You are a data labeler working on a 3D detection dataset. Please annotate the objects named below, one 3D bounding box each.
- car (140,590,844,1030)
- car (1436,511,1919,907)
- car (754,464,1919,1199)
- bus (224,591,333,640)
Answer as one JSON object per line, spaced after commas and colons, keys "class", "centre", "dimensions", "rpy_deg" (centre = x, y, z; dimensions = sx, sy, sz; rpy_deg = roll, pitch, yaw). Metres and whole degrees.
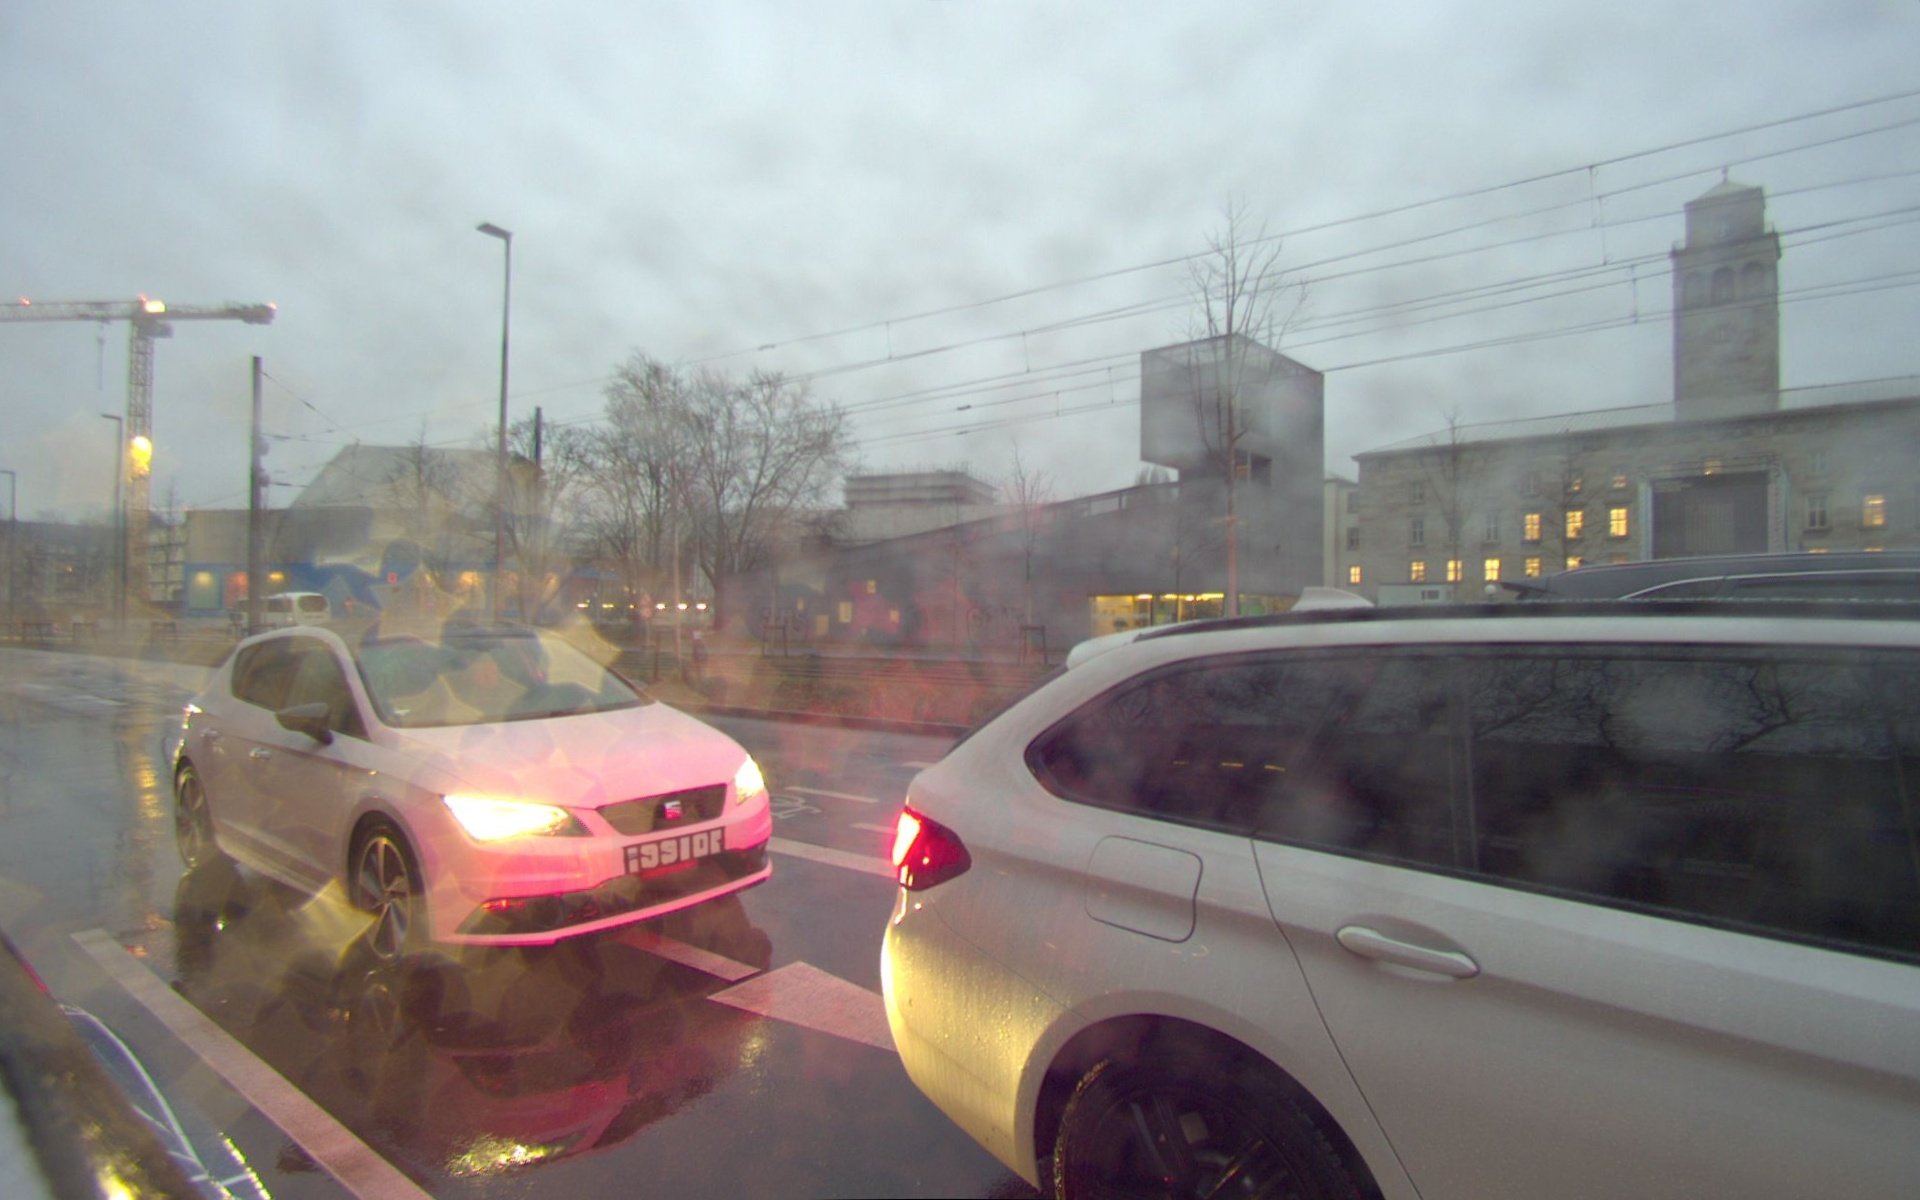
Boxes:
{"class": "car", "centre": [-2.728, 0.746, 5.469], "dimensions": [4.124, 1.486, 1.757], "rpy_deg": [-1, 1, 38]}
{"class": "car", "centre": [5.018, 0.497, 4.977], "dimensions": [4.605, 1.756, 1.686], "rpy_deg": [-1, -2, 38]}
{"class": "car", "centre": [1.958, 0.620, 1.734], "dimensions": [4.919, 1.532, 1.890], "rpy_deg": [-1, -2, 40]}
{"class": "bus", "centre": [-53.287, 1.214, 78.908], "dimensions": [12.277, 3.605, 2.783], "rpy_deg": [-1, -2, 35]}
